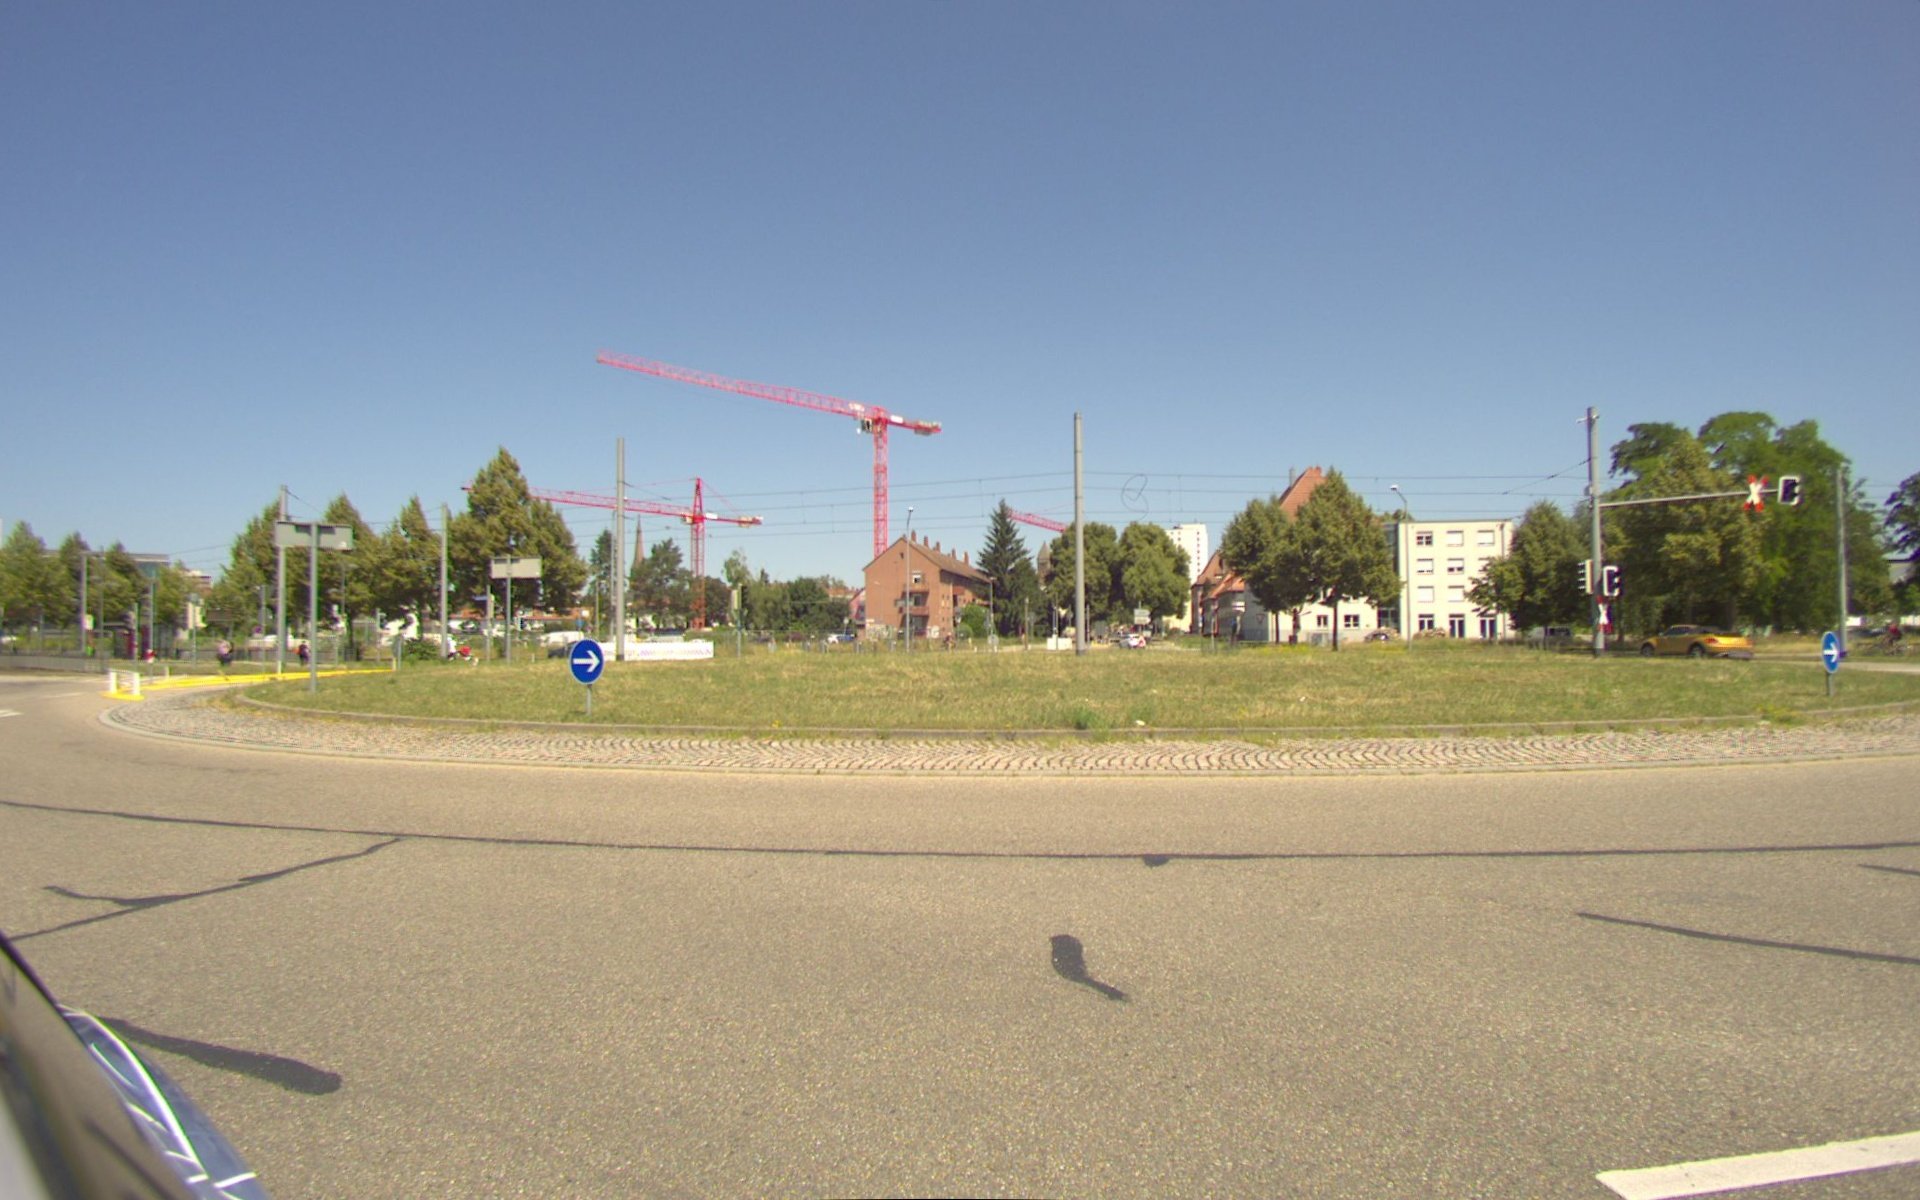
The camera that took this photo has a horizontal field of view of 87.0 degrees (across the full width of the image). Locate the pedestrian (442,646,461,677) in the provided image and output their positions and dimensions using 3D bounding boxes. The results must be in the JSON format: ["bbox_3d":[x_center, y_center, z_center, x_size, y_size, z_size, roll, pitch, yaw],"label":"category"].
[{"bbox_3d":[-31.719,3.839,63.137,0.732,1.913,0.803,-1,-3,41],"label":"pedestrian"}]

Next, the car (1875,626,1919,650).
[{"bbox_3d":[66.273,2.643,69.936,1.965,1.586,4.013,2,-2,-25],"label":"car"}]

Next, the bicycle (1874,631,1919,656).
[{"bbox_3d":[44.170,2.044,47.262,0.717,1.123,2.065,2,-2,-30],"label":"bicycle"}]

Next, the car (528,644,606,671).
[{"bbox_3d":[-23.662,3.458,61.046,3.943,1.475,2.000,1,-2,-1],"label":"car"}]

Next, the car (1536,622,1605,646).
[{"bbox_3d":[45.014,2.512,74.683,3.966,1.697,1.989,0,-2,17],"label":"car"}]

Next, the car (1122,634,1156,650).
[{"bbox_3d":[17.035,3.955,96.423,1.687,1.431,3.911,1,-2,-13],"label":"car"}]

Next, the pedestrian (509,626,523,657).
[{"bbox_3d":[-29.395,2.768,67.027,0.601,2.029,0.589,0,-2,29],"label":"pedestrian"}]

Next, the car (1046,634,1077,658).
[{"bbox_3d":[8.957,4.022,89.098,1.982,2.029,3.979,0,-2,16],"label":"car"}]

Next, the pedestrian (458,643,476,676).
[{"bbox_3d":[-31.062,3.740,63.749,0.732,2.029,0.736,-1,-3,41],"label":"pedestrian"}]

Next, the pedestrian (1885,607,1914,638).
[{"bbox_3d":[44.033,1.050,47.430,0.697,1.462,0.820,2,-2,-31],"label":"pedestrian"}]

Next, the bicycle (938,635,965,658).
[{"bbox_3d":[-0.653,3.596,78.024,2.053,1.697,0.561,1,-2,-7],"label":"bicycle"}]

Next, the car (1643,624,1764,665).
[{"bbox_3d":[27.304,1.603,37.320,1.807,1.413,3.658,0,-1,3],"label":"car"}]

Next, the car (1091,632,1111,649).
[{"bbox_3d":[18.052,5.178,129.829,1.982,2.029,3.979,0,-2,16],"label":"car"}]

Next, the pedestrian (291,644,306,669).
[{"bbox_3d":[-37.747,3.242,57.758,0.543,1.417,0.589,-3,-3,43],"label":"pedestrian"}]

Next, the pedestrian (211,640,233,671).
[{"bbox_3d":[-39.797,2.971,54.567,0.781,1.652,0.750,-1,-3,42],"label":"pedestrian"}]
